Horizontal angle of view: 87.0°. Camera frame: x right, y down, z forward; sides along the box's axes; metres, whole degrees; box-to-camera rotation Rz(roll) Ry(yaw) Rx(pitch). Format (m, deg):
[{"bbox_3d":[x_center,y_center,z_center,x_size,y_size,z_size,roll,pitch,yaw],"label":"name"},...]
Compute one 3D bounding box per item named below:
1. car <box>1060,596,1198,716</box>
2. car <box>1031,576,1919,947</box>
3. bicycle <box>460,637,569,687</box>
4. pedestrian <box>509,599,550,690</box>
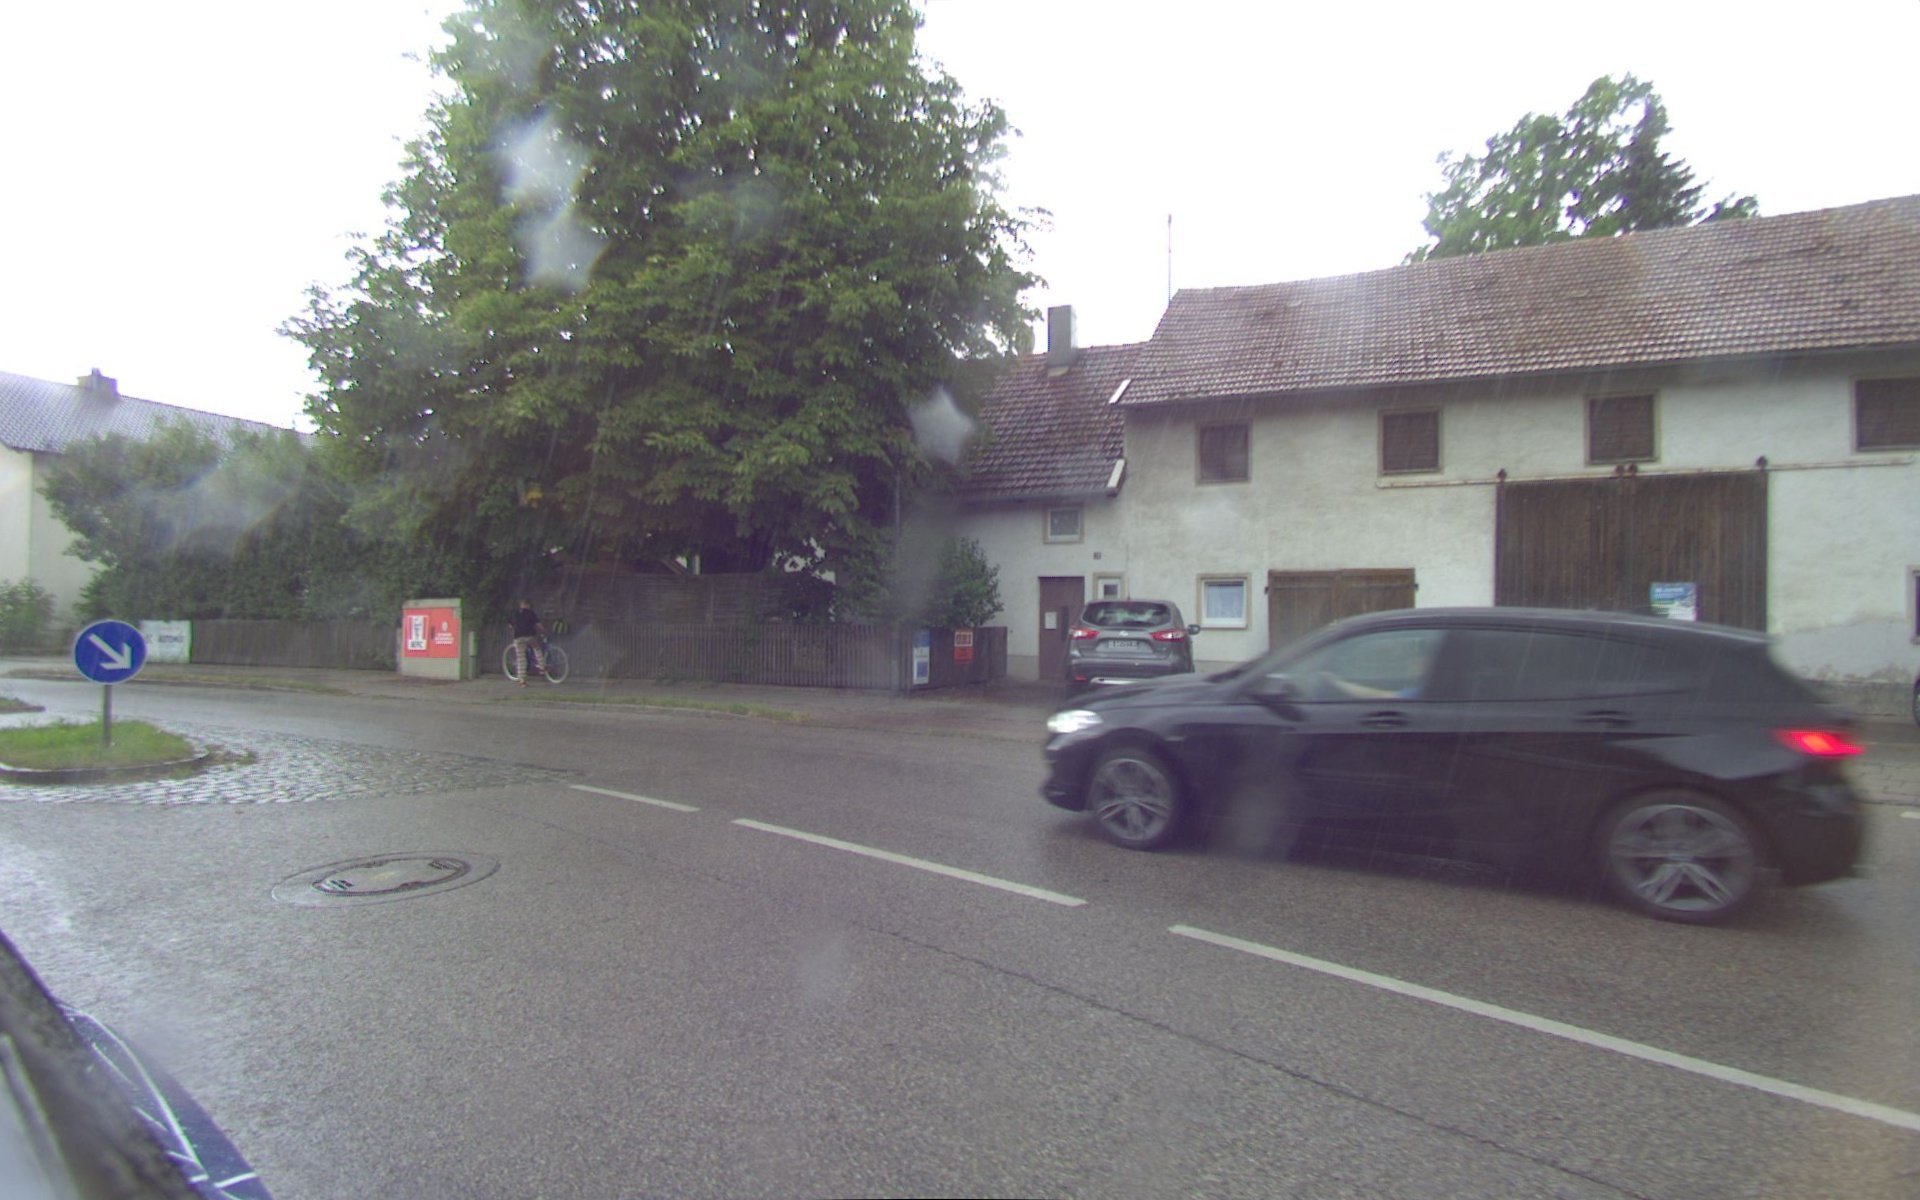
[{"bbox_3d":[2.648,0.841,15.539,1.799,1.560,4.265,0,-3,11],"label":"car"},{"bbox_3d":[2.614,0.690,5.874,4.042,1.502,1.799,-1,-1,30],"label":"car"},{"bbox_3d":[-8.473,1.171,19.276,1.854,0.909,0.662,0,-1,10],"label":"bicycle"},{"bbox_3d":[-7.859,0.806,18.501,0.642,1.640,0.480,0,-1,-19],"label":"pedestrian"}]
